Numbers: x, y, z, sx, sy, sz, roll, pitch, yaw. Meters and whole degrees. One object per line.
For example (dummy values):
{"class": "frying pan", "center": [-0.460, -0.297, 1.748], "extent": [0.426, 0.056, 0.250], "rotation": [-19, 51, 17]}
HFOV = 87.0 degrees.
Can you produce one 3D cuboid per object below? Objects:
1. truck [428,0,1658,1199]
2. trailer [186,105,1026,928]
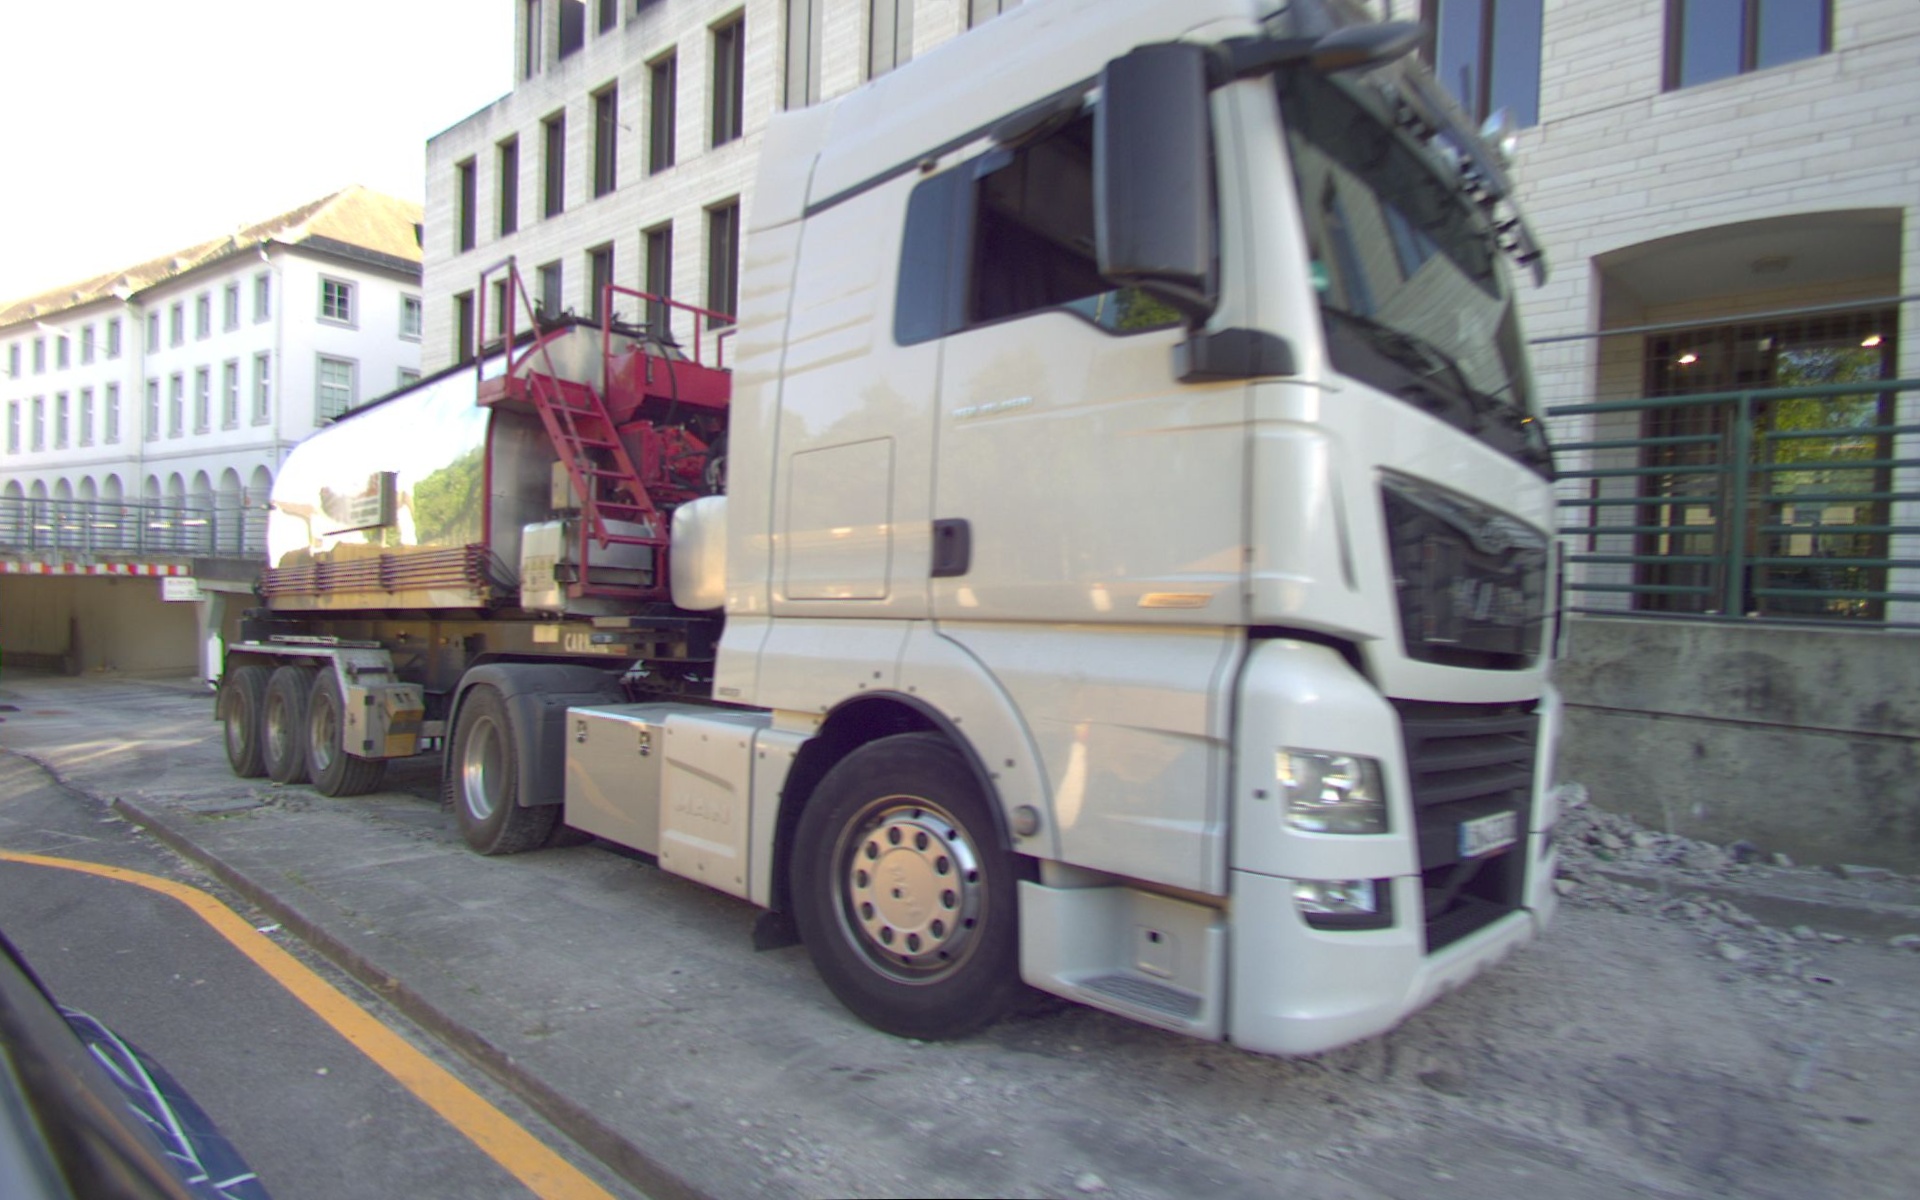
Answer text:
{"class": "truck", "center": [-0.229, -0.341, 5.106], "extent": [5.818, 3.516, 2.550], "rotation": [-1, -5, 45]}
{"class": "trailer", "center": [-3.726, -0.266, 8.443], "extent": [8.747, 3.697, 2.613], "rotation": [-1, -5, 42]}
